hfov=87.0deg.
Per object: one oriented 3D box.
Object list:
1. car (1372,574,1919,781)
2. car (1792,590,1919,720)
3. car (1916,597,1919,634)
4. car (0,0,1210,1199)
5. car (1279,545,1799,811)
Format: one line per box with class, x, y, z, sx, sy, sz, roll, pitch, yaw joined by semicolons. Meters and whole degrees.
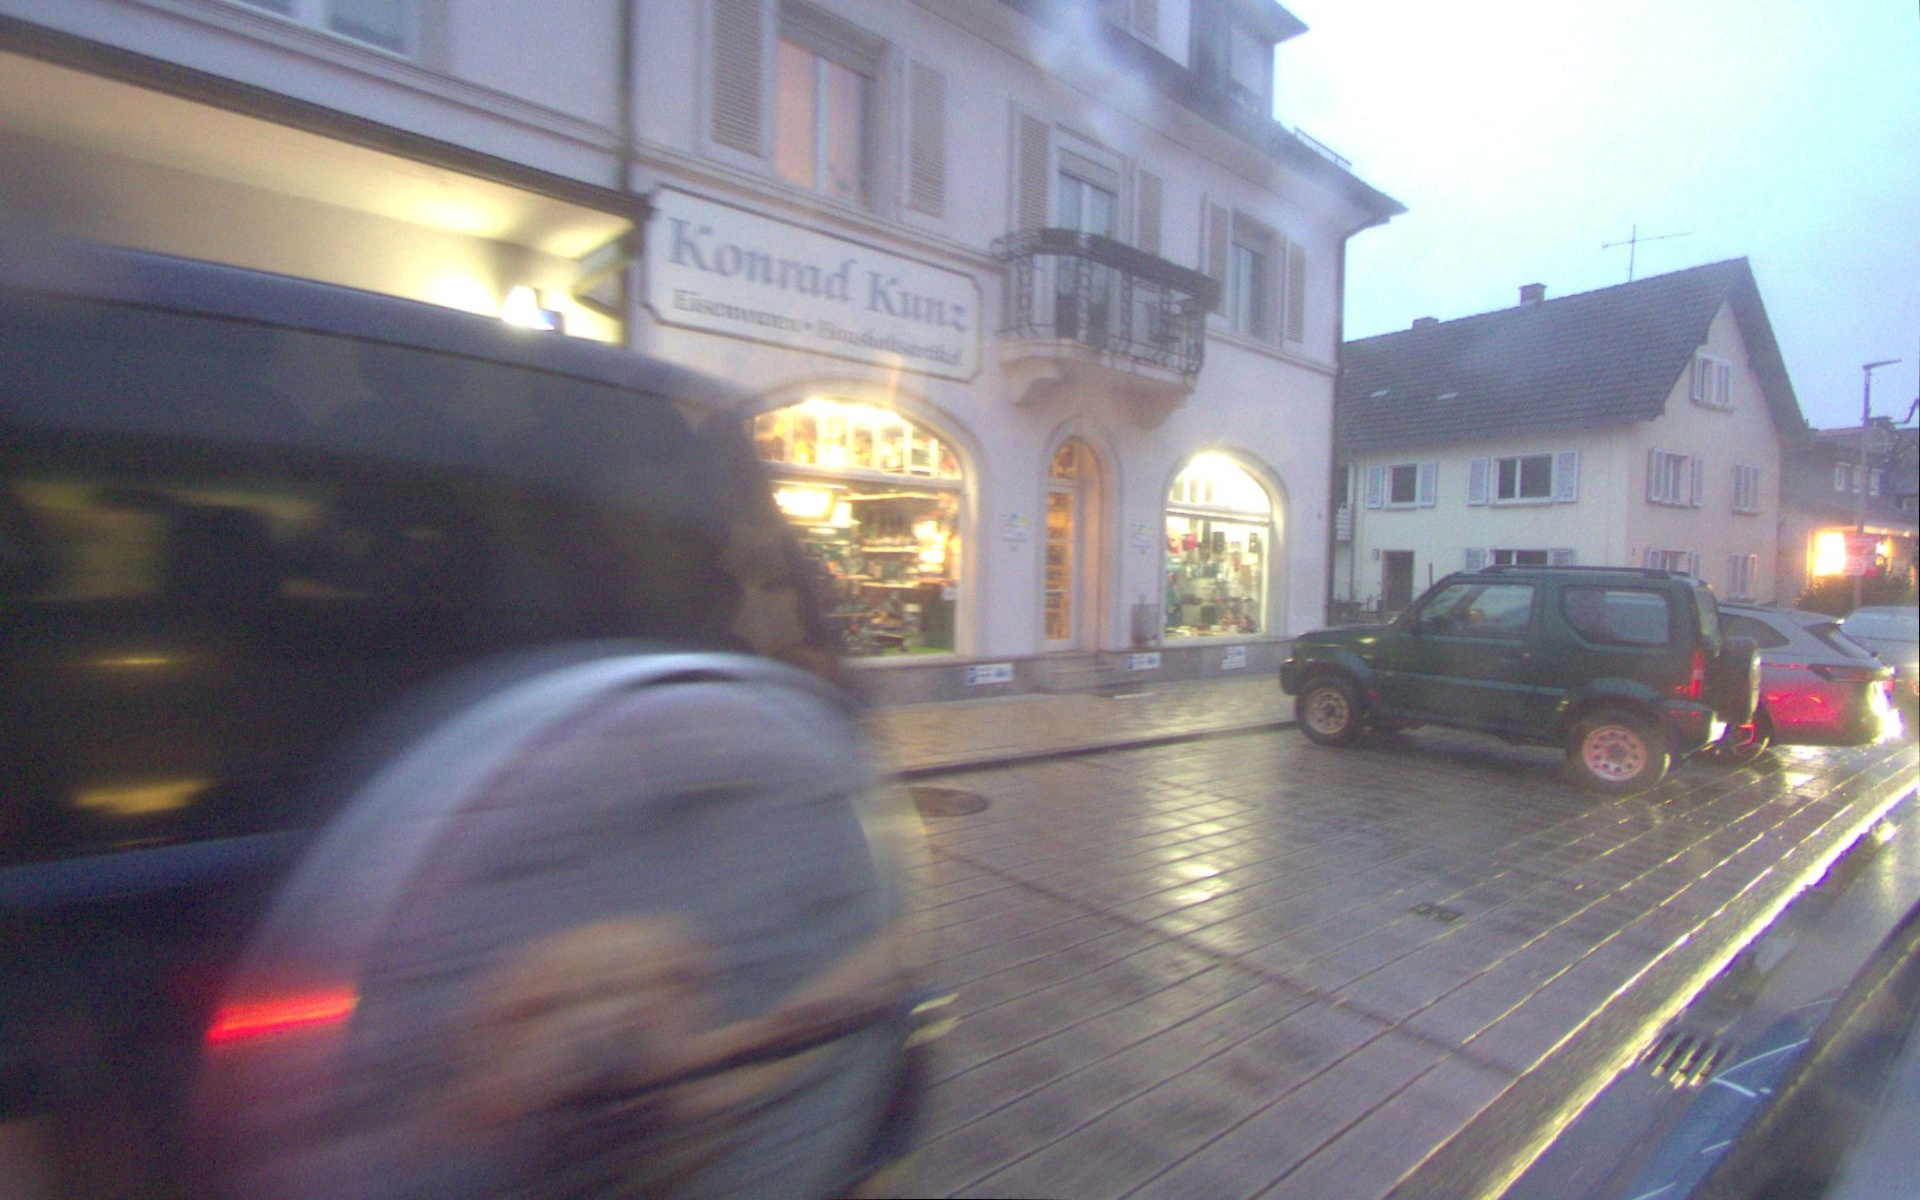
car;6.923;0.598;10.535;1.865;1.491;4.476;1;3;-41
car;13.598;0.728;14.276;4.585;1.566;1.888;1;2;-38
car;35.613;0.613;35.017;1.654;1.458;3.305;0;5;-33
car;-1.930;0.405;2.527;1.913;1.797;4.608;1;2;-44
car;4.816;0.472;8.718;1.688;1.701;3.507;1;3;-45
